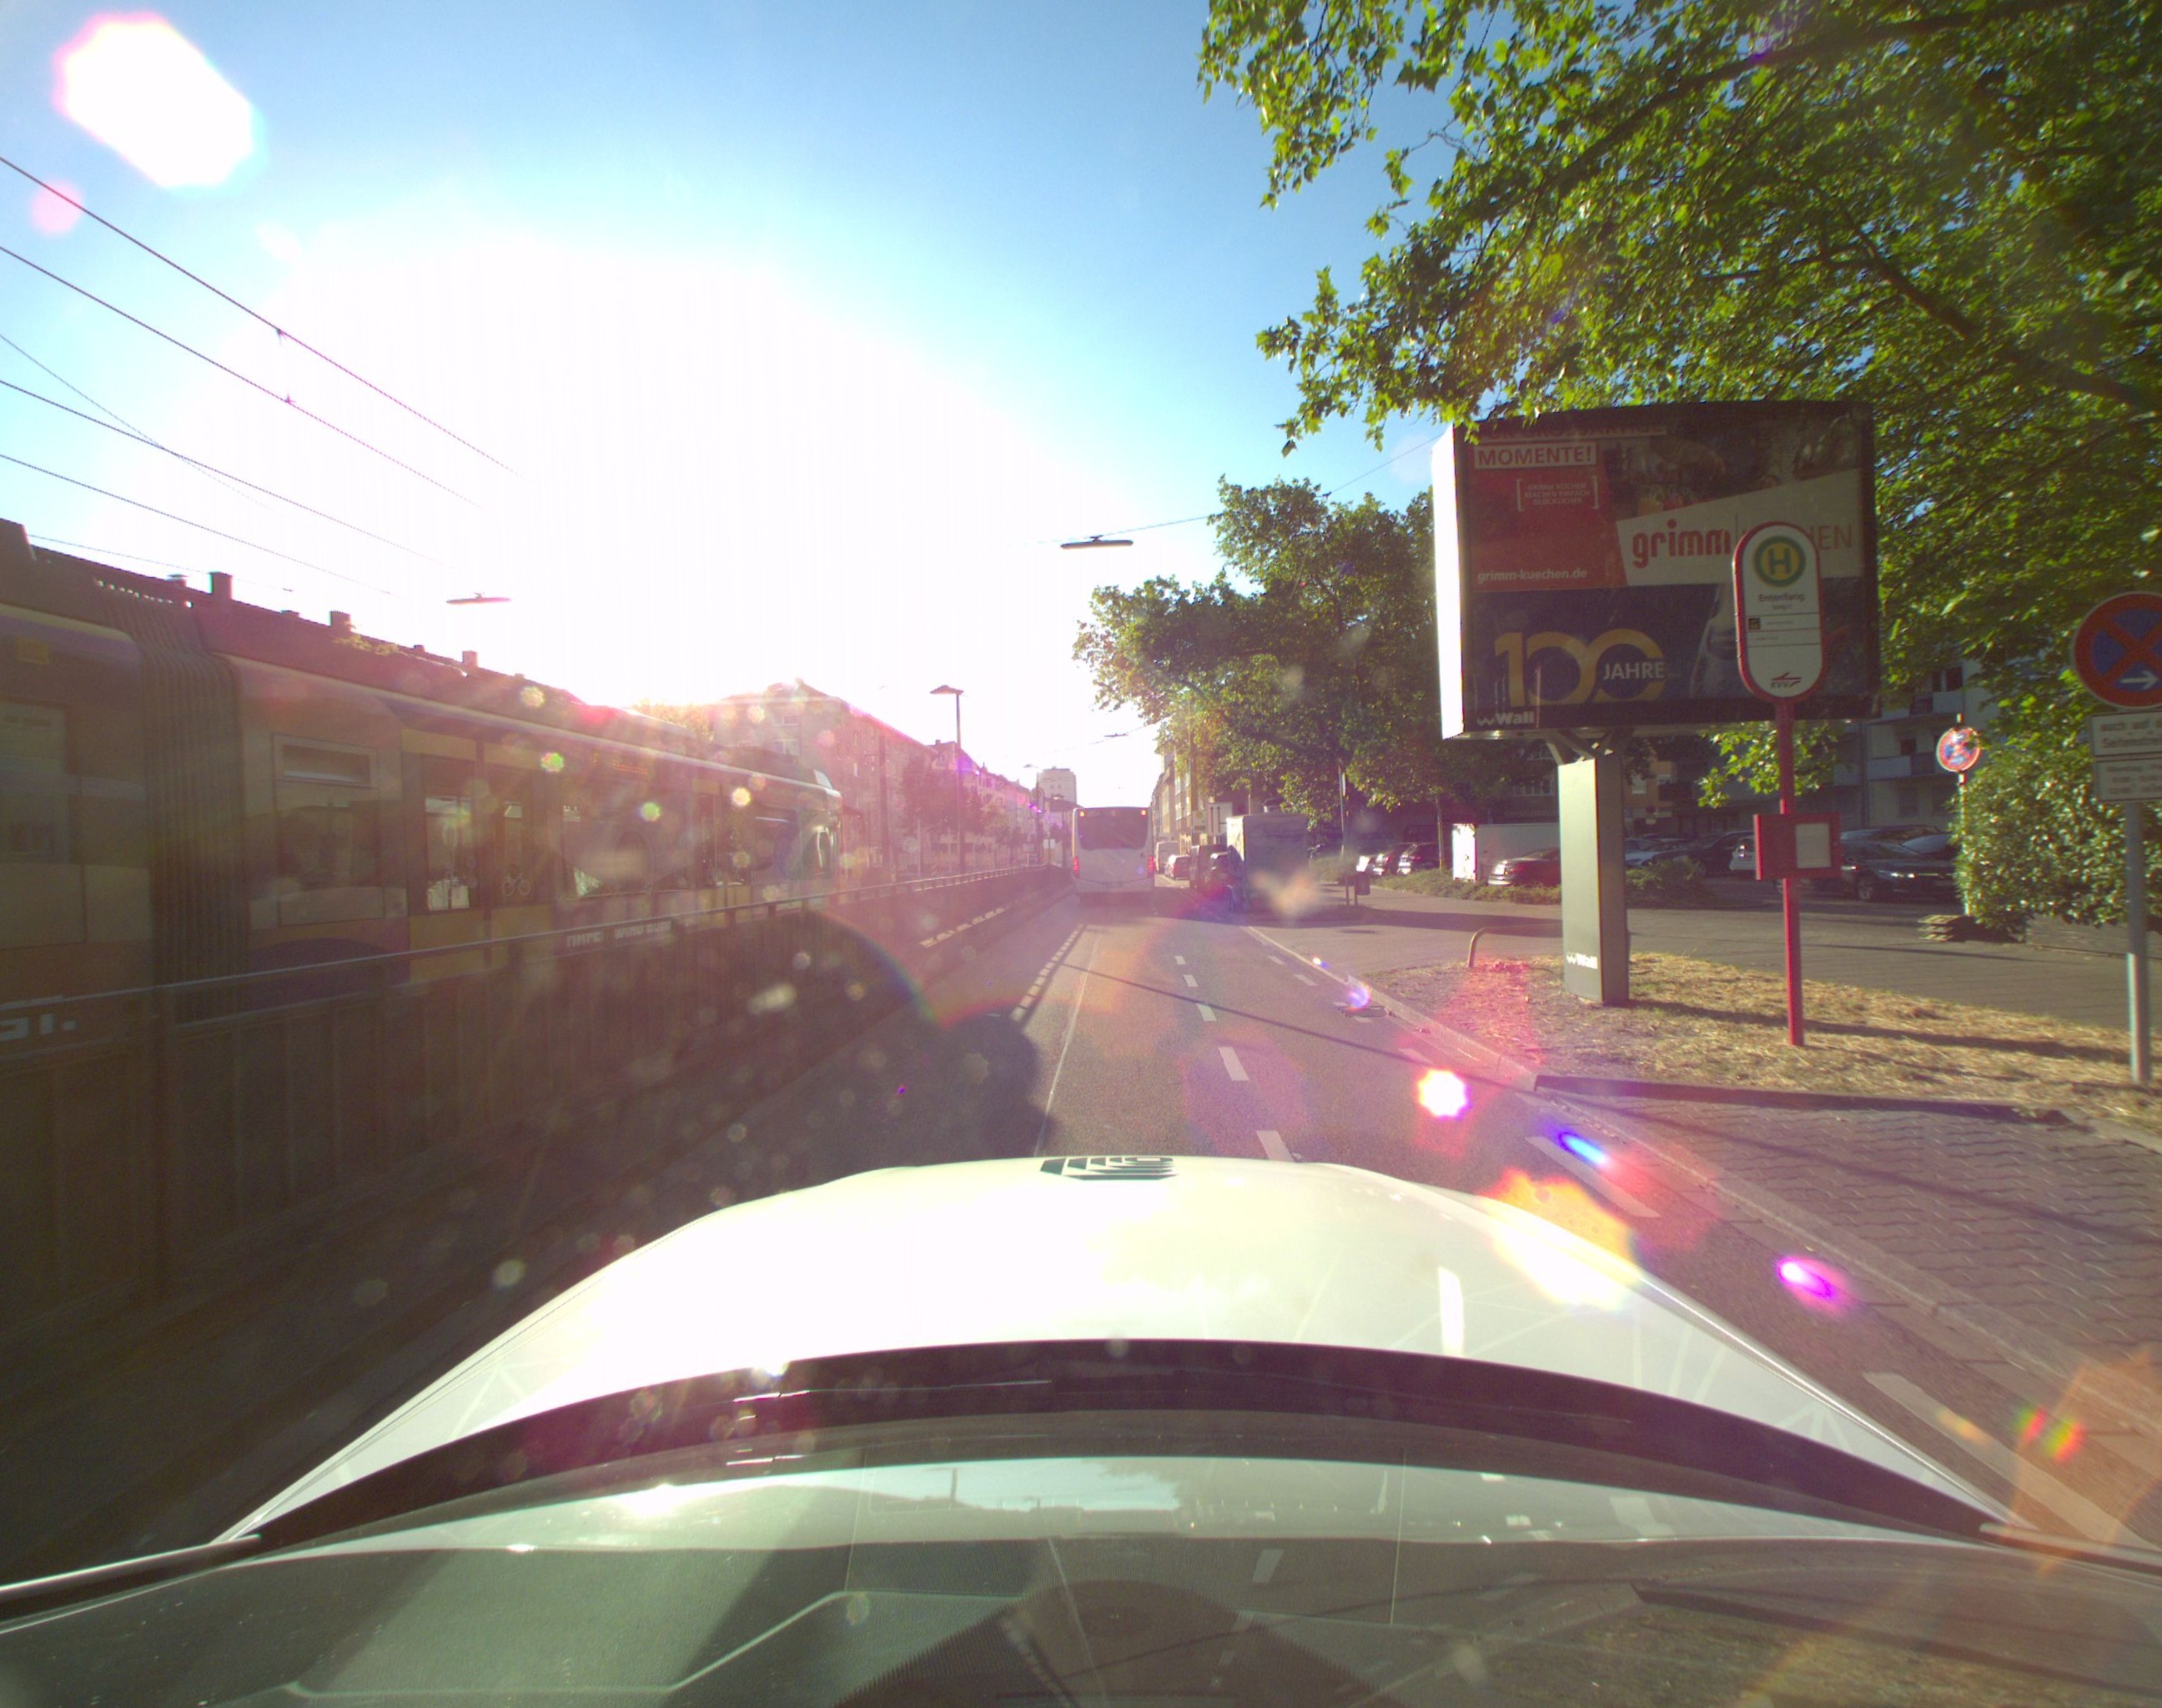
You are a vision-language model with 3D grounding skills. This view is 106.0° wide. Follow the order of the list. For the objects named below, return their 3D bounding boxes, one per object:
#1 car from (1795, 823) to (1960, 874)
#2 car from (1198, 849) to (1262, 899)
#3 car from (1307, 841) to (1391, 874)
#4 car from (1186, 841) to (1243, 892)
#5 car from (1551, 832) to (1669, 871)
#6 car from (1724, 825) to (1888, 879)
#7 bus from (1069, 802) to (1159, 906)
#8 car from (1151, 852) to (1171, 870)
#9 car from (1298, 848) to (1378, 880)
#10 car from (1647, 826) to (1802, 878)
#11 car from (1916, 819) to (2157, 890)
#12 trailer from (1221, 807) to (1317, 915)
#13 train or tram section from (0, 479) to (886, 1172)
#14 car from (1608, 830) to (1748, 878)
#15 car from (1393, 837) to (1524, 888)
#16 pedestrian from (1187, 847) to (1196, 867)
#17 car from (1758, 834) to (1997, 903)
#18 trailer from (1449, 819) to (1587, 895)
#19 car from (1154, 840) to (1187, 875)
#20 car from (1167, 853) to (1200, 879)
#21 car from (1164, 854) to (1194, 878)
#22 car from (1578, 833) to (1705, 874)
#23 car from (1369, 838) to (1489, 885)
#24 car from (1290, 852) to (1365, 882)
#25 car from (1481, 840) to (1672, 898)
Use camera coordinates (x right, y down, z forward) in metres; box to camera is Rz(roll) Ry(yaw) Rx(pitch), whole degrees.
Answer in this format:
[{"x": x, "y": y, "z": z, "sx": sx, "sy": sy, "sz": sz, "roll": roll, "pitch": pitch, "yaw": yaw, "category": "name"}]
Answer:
[{"x": 30.194, "y": -0.199, "z": 30.978, "sx": 4.260, "sy": 1.642, "sz": 1.874, "roll": -4, "pitch": -1, "yaw": 2, "category": "car"}, {"x": 5.157, "y": 0.681, "z": 28.618, "sx": 1.693, "sy": 1.588, "sz": 3.830, "roll": -2, "pitch": -1, "yaw": 3, "category": "car"}, {"x": 14.195, "y": 0.200, "z": 43.241, "sx": 3.904, "sy": 1.588, "sz": 1.707, "roll": -2, "pitch": -1, "yaw": 2, "category": "car"}, {"x": 5.621, "y": 0.510, "z": 34.705, "sx": 1.839, "sy": 1.956, "sz": 4.547, "roll": -2, "pitch": -1, "yaw": 3, "category": "car"}, {"x": 24.738, "y": -0.122, "z": 38.213, "sx": 4.260, "sy": 1.642, "sz": 1.874, "roll": -2, "pitch": 0, "yaw": 2, "category": "car"}, {"x": 24.884, "y": -0.067, "z": 28.059, "sx": 3.878, "sy": 1.555, "sz": 1.831, "roll": -4, "pitch": -1, "yaw": 2, "category": "car"}, {"x": 1.220, "y": 0.018, "z": 30.155, "sx": 2.723, "sy": 3.139, "sz": 10.709, "roll": -1, "pitch": 0, "yaw": 2, "category": "bus"}, {"x": 7.606, "y": 0.644, "z": 78.069, "sx": 1.722, "sy": 1.575, "sz": 3.678, "roll": -2, "pitch": 0, "yaw": 3, "category": "car"}, {"x": 14.289, "y": 0.547, "z": 45.382, "sx": 3.904, "sy": 1.588, "sz": 1.707, "roll": -2, "pitch": -1, "yaw": 2, "category": "car"}, {"x": 24.222, "y": -0.048, "z": 30.766, "sx": 4.260, "sy": 1.642, "sz": 1.874, "roll": -4, "pitch": -1, "yaw": 2, "category": "car"}, {"x": 23.974, "y": 0.017, "z": 20.553, "sx": 3.904, "sy": 1.487, "sz": 1.707, "roll": -4, "pitch": -1, "yaw": 2, "category": "car"}, {"x": 4.874, "y": 0.181, "z": 21.545, "sx": 1.825, "sy": 2.557, "sz": 3.321, "roll": -2, "pitch": 0, "yaw": 3, "category": "trailer"}, {"x": -5.915, "y": -0.108, "z": 10.856, "sx": 2.629, "sy": 3.519, "sz": 13.344, "roll": -2, "pitch": 0, "yaw": 3, "category": "train or tram section"}, {"x": 24.395, "y": 0.013, "z": 33.414, "sx": 4.260, "sy": 1.642, "sz": 1.874, "roll": -4, "pitch": -1, "yaw": 2, "category": "car"}, {"x": 13.513, "y": 0.312, "z": 29.297, "sx": 3.904, "sy": 1.636, "sz": 1.707, "roll": -2, "pitch": -1, "yaw": 2, "category": "car"}, {"x": 10.939, "y": 0.325, "z": 80.716, "sx": 0.682, "sy": 1.947, "sz": 1.117, "roll": -1, "pitch": -2, "yaw": 3, "category": "pedestrian"}, {"x": 18.817, "y": 0.309, "z": 19.574, "sx": 1.782, "sy": 1.437, "sz": 4.244, "roll": -2, "pitch": 0, "yaw": 4, "category": "car"}, {"x": 12.804, "y": 0.087, "z": 24.042, "sx": 3.050, "sy": 2.069, "sz": 1.880, "roll": -1, "pitch": 0, "yaw": 4, "category": "trailer"}, {"x": 7.260, "y": 0.304, "z": 66.723, "sx": 2.273, "sy": 2.627, "sz": 5.313, "roll": -2, "pitch": -1, "yaw": 3, "category": "car"}, {"x": 6.359, "y": 0.738, "z": 50.712, "sx": 1.664, "sy": 1.463, "sz": 3.936, "roll": -4, "pitch": -1, "yaw": 3, "category": "car"}, {"x": 6.651, "y": 0.790, "z": 55.604, "sx": 1.664, "sy": 1.463, "sz": 3.936, "roll": -4, "pitch": -1, "yaw": 3, "category": "car"}, {"x": 24.567, "y": -0.013, "z": 35.821, "sx": 4.260, "sy": 1.642, "sz": 1.874, "roll": -2, "pitch": 0, "yaw": 2, "category": "car"}, {"x": 13.466, "y": 0.288, "z": 31.665, "sx": 3.904, "sy": 1.637, "sz": 1.707, "roll": -2, "pitch": -1, "yaw": 2, "category": "car"}, {"x": 14.411, "y": 0.762, "z": 47.812, "sx": 3.904, "sy": 1.588, "sz": 1.707, "roll": -2, "pitch": -1, "yaw": 2, "category": "car"}, {"x": 12.870, "y": 0.384, "z": 21.345, "sx": 3.903, "sy": 1.336, "sz": 1.708, "roll": -2, "pitch": -1, "yaw": 3, "category": "car"}]
